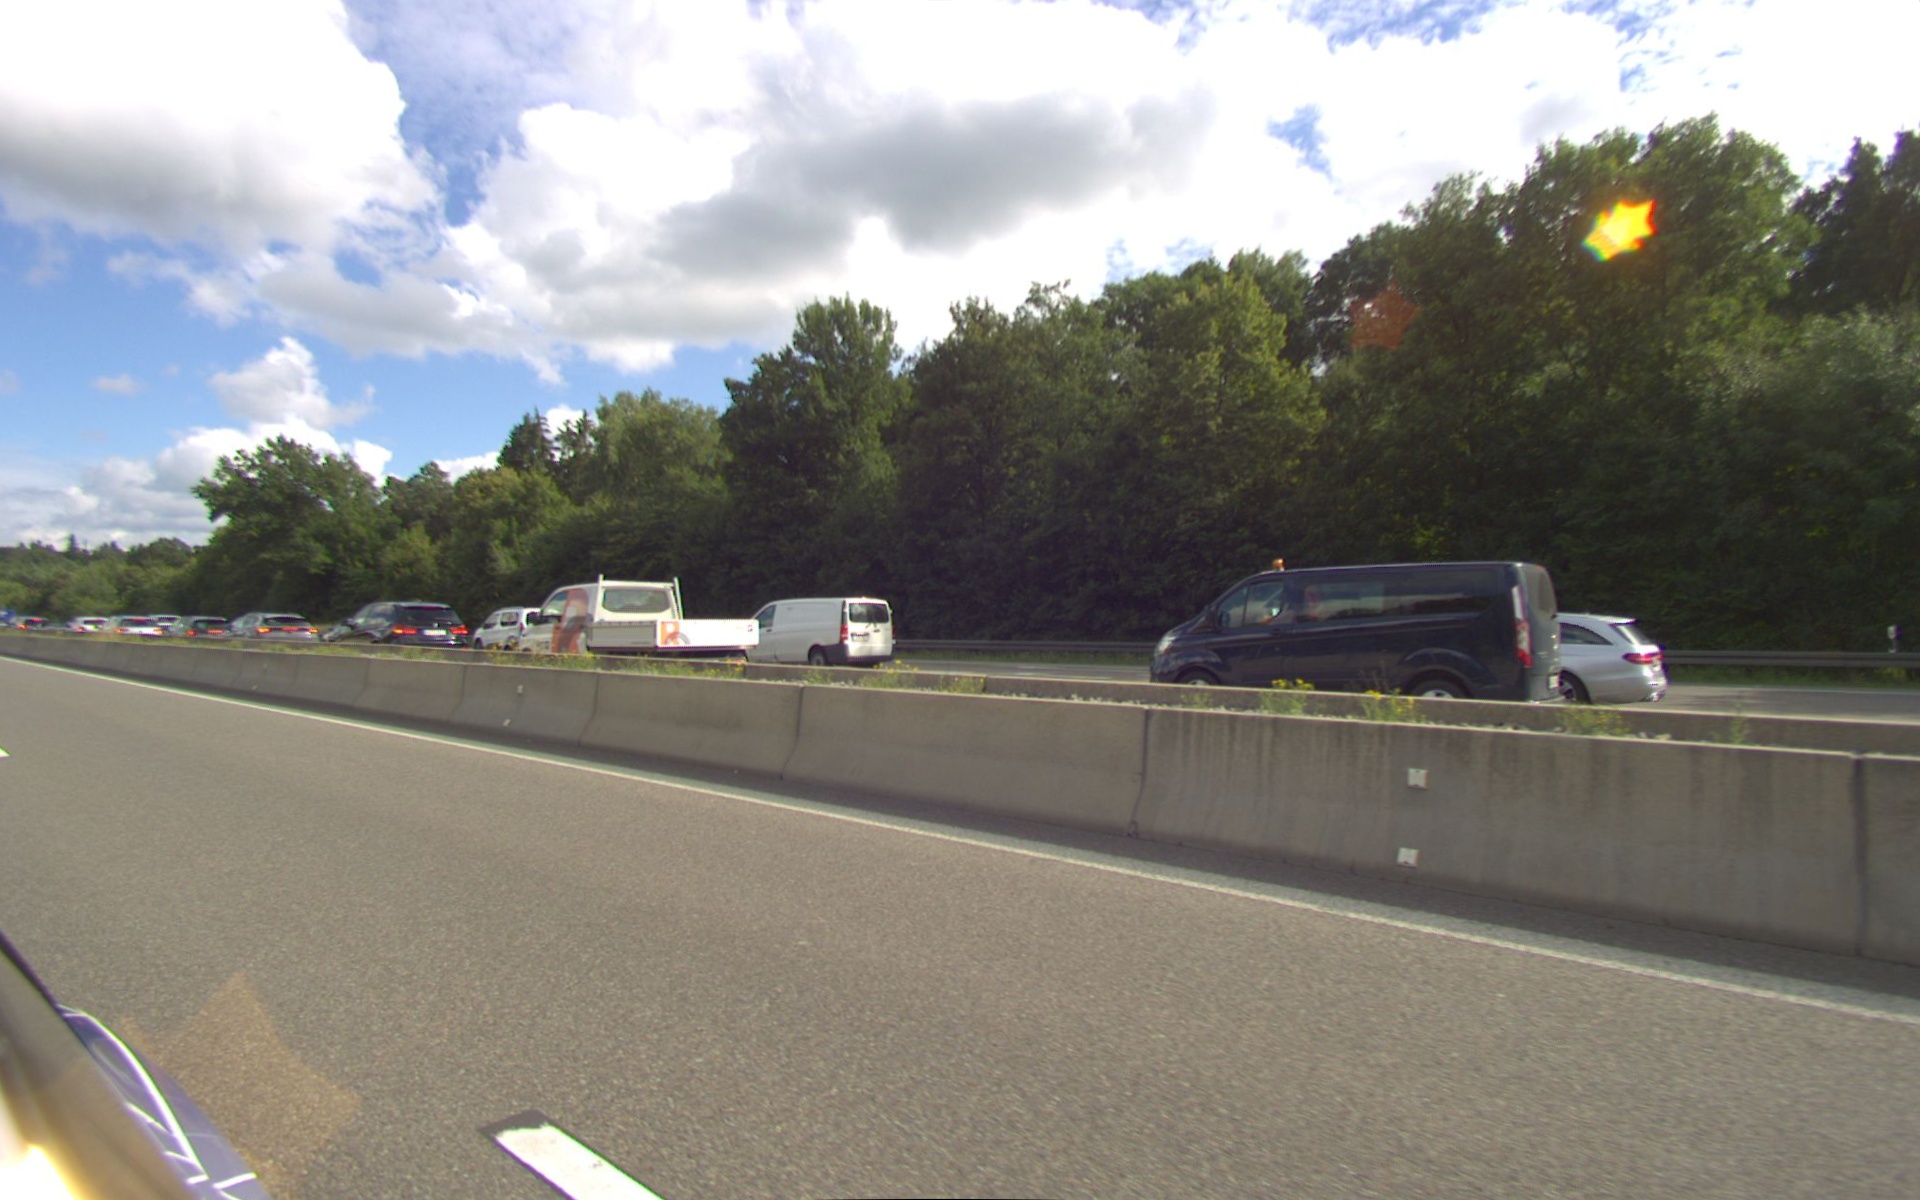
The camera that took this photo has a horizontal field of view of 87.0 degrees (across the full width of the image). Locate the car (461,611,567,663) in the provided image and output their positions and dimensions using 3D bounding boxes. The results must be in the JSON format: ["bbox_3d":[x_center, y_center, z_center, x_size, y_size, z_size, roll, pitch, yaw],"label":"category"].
[{"bbox_3d":[-16.596,1.343,37.547,4.548,1.813,1.827,-1,-2,41],"label":"car"}]

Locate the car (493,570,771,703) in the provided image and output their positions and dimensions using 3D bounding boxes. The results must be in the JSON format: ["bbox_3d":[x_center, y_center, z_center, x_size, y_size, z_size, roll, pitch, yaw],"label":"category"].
[{"bbox_3d":[-6.071,0.642,18.249,5.820,2.029,2.136,-1,-2,42],"label":"car"}]

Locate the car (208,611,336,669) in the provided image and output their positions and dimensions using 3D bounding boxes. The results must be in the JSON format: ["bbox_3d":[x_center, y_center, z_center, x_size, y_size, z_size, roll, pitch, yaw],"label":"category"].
[{"bbox_3d":[-21.045,1.209,30.884,4.548,1.630,2.148,-1,-2,41],"label":"car"}]

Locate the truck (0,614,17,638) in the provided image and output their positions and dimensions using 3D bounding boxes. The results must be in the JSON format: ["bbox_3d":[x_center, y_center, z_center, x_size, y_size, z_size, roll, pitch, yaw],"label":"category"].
[{"bbox_3d":[-101.244,2.694,106.527,5.237,2.477,2.338,-1,-2,41],"label":"truck"}]

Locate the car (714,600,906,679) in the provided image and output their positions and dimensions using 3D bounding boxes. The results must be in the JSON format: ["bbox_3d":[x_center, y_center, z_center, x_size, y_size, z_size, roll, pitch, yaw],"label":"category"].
[{"bbox_3d":[-3.980,0.989,26.195,5.339,1.865,1.929,-1,-2,41],"label":"car"}]

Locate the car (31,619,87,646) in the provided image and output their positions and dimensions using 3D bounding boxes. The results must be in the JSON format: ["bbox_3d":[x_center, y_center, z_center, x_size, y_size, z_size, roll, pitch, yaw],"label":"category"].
[{"bbox_3d":[-53.319,1.896,59.866,3.998,1.564,1.973,-1,-2,41],"label":"car"}]

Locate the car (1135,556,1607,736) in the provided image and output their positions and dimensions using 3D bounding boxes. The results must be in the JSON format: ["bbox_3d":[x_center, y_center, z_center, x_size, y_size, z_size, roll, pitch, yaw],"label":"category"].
[{"bbox_3d":[4.924,0.527,12.683,5.123,1.819,1.973,-1,-2,41],"label":"car"}]

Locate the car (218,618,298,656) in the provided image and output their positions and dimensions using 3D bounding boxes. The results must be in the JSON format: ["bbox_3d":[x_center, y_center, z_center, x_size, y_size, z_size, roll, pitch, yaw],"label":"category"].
[{"bbox_3d":[-32.106,1.664,46.253,4.548,1.630,1.973,-1,-2,41],"label":"car"}]

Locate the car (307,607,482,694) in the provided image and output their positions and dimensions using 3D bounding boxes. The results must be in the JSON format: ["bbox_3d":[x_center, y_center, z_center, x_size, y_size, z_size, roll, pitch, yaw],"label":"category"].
[{"bbox_3d":[-14.287,1.203,25.430,5.393,1.962,2.148,-1,-2,41],"label":"car"}]

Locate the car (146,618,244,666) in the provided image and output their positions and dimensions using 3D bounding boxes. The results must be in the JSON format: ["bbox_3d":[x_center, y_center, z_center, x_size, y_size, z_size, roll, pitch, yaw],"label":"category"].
[{"bbox_3d":[-27.859,1.485,36.815,4.548,1.630,1.973,-1,-2,41],"label":"car"}]

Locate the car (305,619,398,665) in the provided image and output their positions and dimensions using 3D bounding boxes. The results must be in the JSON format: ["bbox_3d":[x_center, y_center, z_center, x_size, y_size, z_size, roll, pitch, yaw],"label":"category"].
[{"bbox_3d":[-22.751,1.522,37.783,4.548,1.630,1.650,-1,-2,41],"label":"car"}]

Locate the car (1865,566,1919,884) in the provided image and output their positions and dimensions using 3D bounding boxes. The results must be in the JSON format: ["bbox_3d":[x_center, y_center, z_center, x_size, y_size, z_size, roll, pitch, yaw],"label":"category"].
[{"bbox_3d":[7.893,0.690,5.102,4.874,1.815,2.148,-1,-2,41],"label":"car"}]

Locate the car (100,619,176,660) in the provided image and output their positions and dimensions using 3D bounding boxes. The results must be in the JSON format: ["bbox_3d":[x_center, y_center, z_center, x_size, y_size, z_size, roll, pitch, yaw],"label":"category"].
[{"bbox_3d":[-34.495,1.615,42.434,4.548,1.630,1.724,-1,-2,41],"label":"car"}]

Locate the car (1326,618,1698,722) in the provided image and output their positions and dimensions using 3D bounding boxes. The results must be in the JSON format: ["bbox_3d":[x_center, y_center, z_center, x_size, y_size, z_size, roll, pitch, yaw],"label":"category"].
[{"bbox_3d":[8.019,0.952,14.968,4.548,1.312,1.845,-1,-2,41],"label":"car"}]

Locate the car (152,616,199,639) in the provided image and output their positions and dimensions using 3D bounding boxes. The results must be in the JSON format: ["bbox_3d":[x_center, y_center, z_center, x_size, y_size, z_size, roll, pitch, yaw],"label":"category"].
[{"bbox_3d":[-57.237,2.012,73.799,3.998,1.630,1.963,-1,-2,41],"label":"car"}]

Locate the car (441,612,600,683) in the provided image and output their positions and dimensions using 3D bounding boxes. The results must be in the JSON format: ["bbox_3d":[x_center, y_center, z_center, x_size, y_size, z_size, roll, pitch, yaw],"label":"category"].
[{"bbox_3d":[-12.659,1.316,28.998,5.257,1.853,2.148,-1,-2,41],"label":"car"}]

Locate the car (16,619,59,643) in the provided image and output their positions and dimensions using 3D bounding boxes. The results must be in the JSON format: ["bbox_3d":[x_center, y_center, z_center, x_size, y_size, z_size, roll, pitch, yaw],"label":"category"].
[{"bbox_3d":[-59.994,2.008,65.783,3.998,1.564,1.621,-1,-2,41],"label":"car"}]

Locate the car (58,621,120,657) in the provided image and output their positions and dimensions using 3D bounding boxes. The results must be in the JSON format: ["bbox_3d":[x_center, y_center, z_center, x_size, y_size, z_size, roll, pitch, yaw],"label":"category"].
[{"bbox_3d":[-40.837,1.796,47.441,3.998,1.630,1.644,-1,-2,41],"label":"car"}]
